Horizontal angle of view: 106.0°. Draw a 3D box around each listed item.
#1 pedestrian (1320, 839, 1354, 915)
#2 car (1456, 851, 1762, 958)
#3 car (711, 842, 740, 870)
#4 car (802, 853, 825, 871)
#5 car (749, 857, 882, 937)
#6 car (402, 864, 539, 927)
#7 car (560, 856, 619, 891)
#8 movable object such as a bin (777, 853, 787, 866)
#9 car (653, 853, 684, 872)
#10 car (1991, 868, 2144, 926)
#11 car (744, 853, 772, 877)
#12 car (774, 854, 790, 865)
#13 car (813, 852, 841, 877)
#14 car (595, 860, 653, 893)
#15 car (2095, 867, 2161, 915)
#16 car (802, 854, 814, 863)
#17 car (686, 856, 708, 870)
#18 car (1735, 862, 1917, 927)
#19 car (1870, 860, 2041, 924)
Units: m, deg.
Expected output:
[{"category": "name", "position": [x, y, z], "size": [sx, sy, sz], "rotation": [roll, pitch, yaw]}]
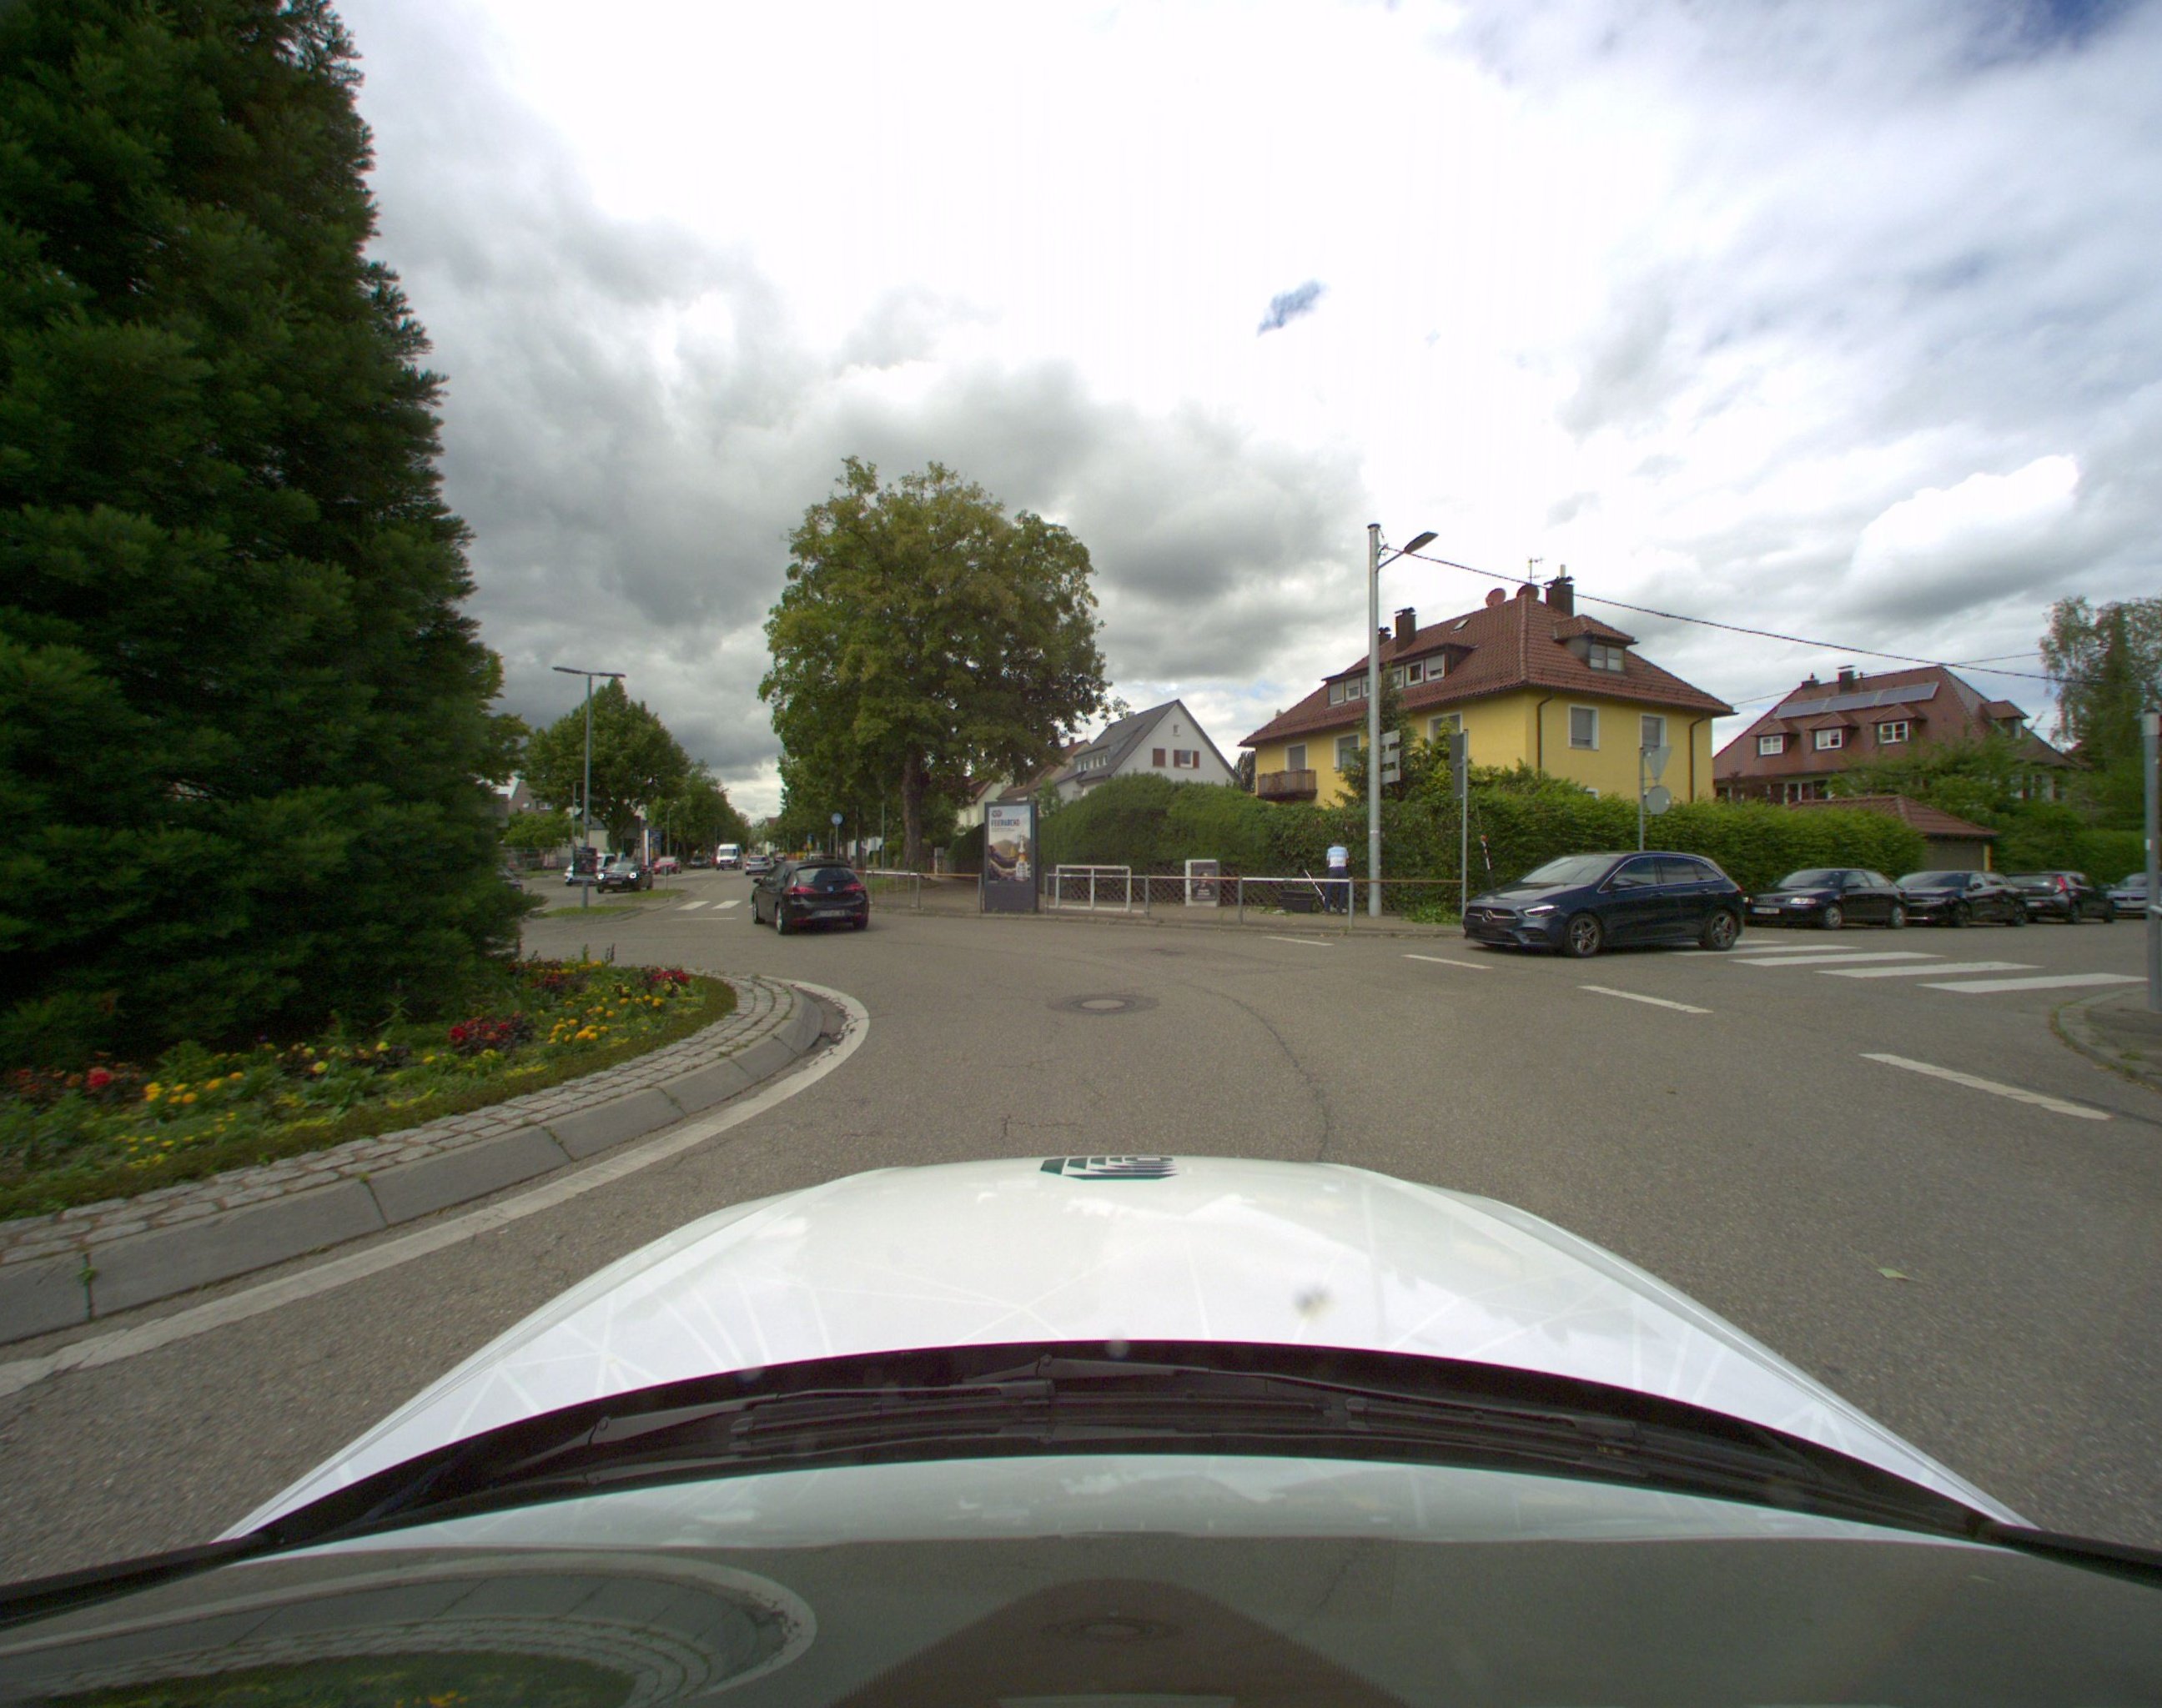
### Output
[{"category": "pedestrian", "position": [5.669, 0.500, 18.040], "size": [0.646, 1.656, 0.597], "rotation": [0, 0, 22]}, {"category": "car", "position": [8.103, 0.687, 12.528], "size": [4.316, 1.448, 1.574], "rotation": [0, 0, -17]}, {"category": "car", "position": [-35.784, 0.200, 82.035], "size": [2.024, 2.674, 5.771], "rotation": [-1, 0, -17]}, {"category": "car", "position": [-23.343, 0.682, 70.946], "size": [1.659, 1.416, 4.148], "rotation": [-2, 1, -21]}, {"category": "car", "position": [-5.703, 0.818, 17.236], "size": [1.831, 1.437, 3.702], "rotation": [-2, 1, -32]}, {"category": "car", "position": [-15.429, 0.982, 20.844], "size": [1.615, 1.372, 4.474], "rotation": [-2, 0, -21]}, {"category": "car", "position": [-27.386, 1.047, 45.513], "size": [1.775, 1.770, 4.524], "rotation": [-1, 0, -17]}, {"category": "movable object such as a bin", "position": [-61.145, 1.036, 166.713], "size": [1.775, 2.574, 3.713], "rotation": [-1, 0, -22]}, {"category": "car", "position": [-35.465, 0.737, 70.122], "size": [1.689, 1.541, 4.108], "rotation": [-1, 0, -17]}, {"category": "car", "position": [27.350, 1.141, 22.575], "size": [3.856, 1.403, 1.541], "rotation": [-1, 1, -20]}, {"category": "car", "position": [-24.846, 0.830, 62.670], "size": [1.913, 1.685, 3.713], "rotation": [-2, 1, -22]}, {"category": "car", "position": [-42.264, 0.770, 115.092], "size": [1.818, 1.375, 3.665], "rotation": [-1, 0, -23]}, {"category": "car", "position": [-15.805, 0.667, 50.586], "size": [1.570, 1.455, 3.644], "rotation": [-1, -1, -19]}, {"category": "car", "position": [-20.771, 0.992, 37.143], "size": [1.577, 1.362, 3.721], "rotation": [-1, 0, -17]}, {"category": "car", "position": [32.940, 1.086, 24.667], "size": [3.915, 1.339, 1.589], "rotation": [-1, -3, -20]}, {"category": "car", "position": [-46.315, 0.722, 138.181], "size": [1.712, 1.454, 4.585], "rotation": [-2, 0, -20]}, {"category": "car", "position": [-42.987, 1.024, 91.261], "size": [1.736, 1.469, 4.275], "rotation": [-2, 1, -18]}, {"category": "car", "position": [17.097, 0.910, 18.696], "size": [3.786, 1.348, 1.541], "rotation": [1, 0, -20]}, {"category": "car", "position": [21.719, 0.884, 20.227], "size": [3.856, 1.403, 1.541], "rotation": [-1, 1, -20]}]
